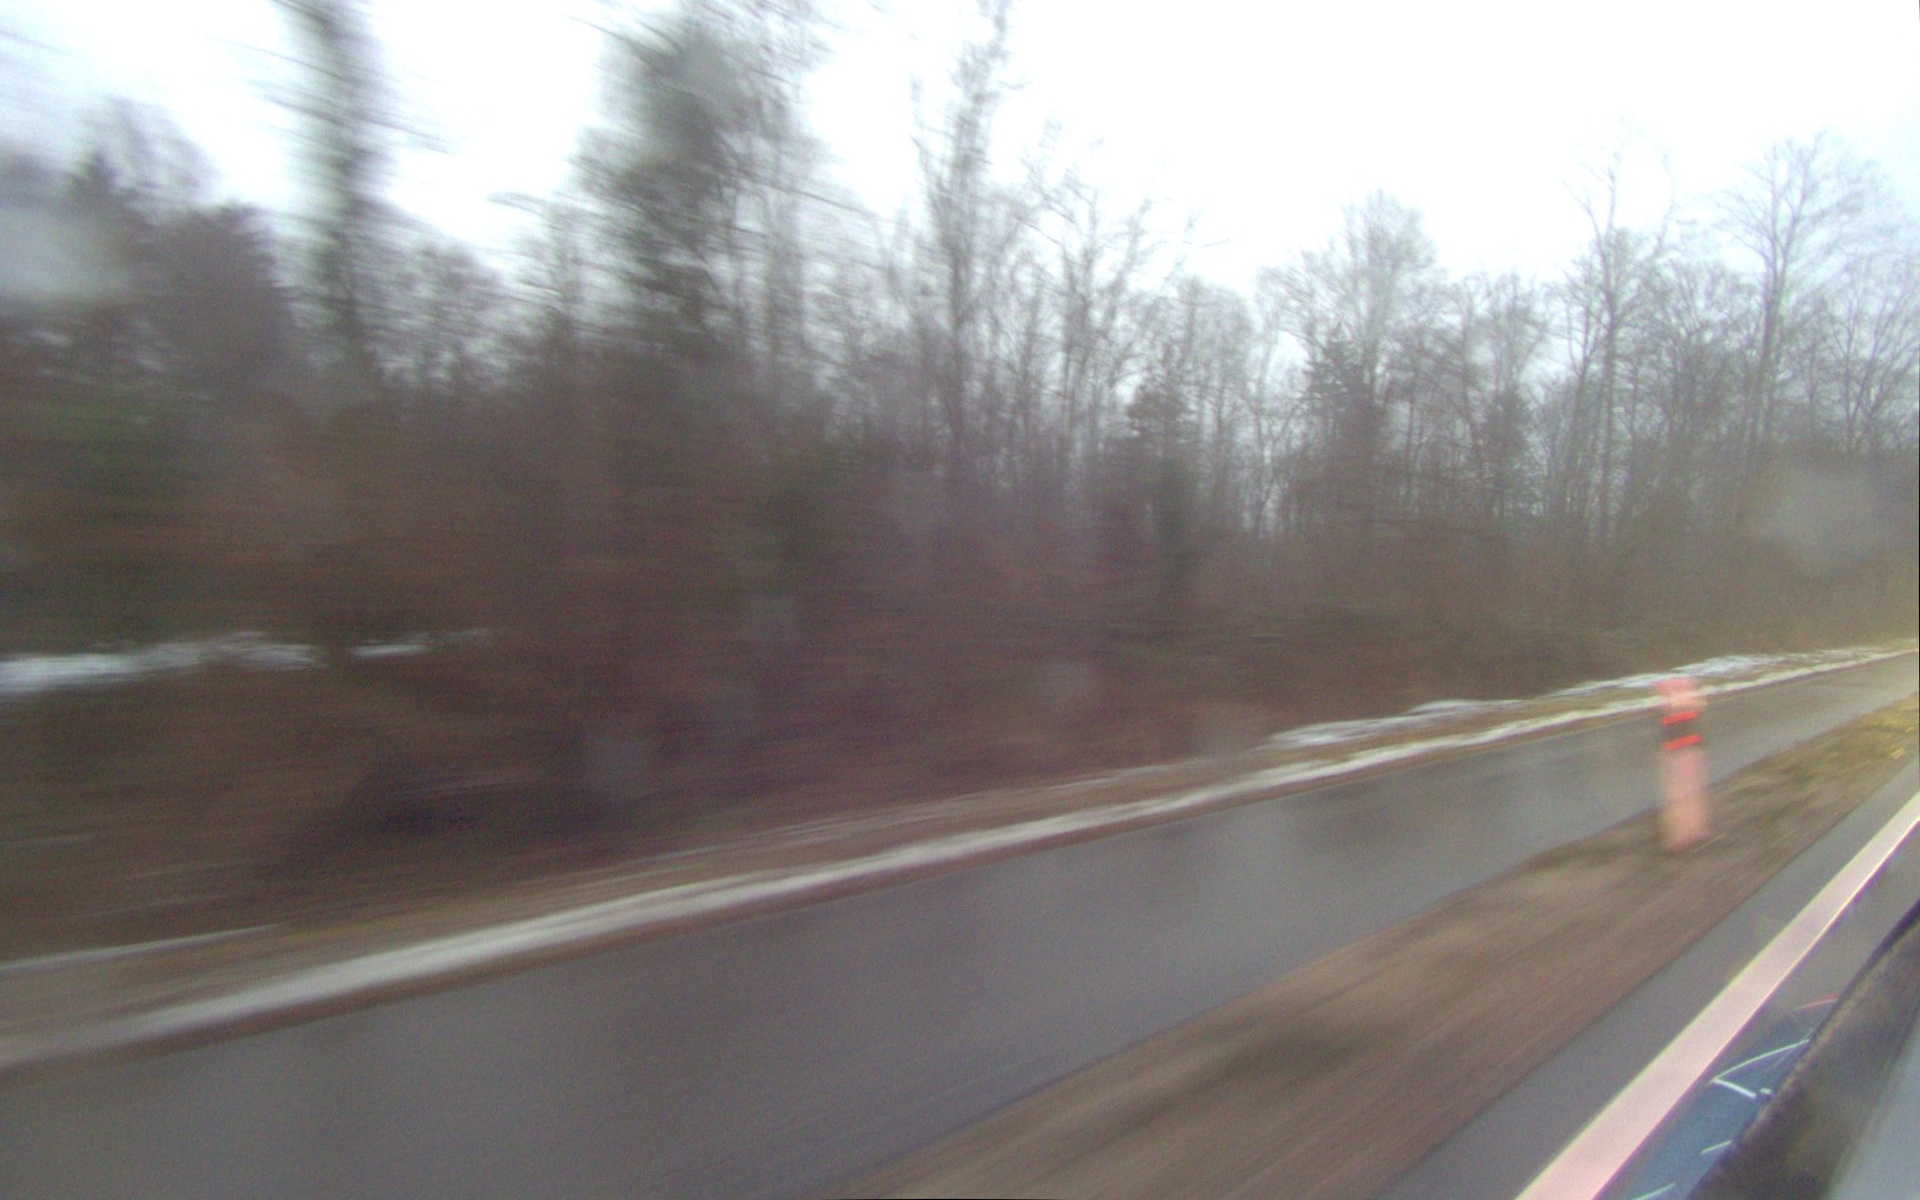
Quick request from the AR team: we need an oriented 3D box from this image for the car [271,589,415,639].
[{"bbox_3d":[-19.866,0.430,32.677,3.667,1.514,1.656,1,1,2],"label":"car"}]
